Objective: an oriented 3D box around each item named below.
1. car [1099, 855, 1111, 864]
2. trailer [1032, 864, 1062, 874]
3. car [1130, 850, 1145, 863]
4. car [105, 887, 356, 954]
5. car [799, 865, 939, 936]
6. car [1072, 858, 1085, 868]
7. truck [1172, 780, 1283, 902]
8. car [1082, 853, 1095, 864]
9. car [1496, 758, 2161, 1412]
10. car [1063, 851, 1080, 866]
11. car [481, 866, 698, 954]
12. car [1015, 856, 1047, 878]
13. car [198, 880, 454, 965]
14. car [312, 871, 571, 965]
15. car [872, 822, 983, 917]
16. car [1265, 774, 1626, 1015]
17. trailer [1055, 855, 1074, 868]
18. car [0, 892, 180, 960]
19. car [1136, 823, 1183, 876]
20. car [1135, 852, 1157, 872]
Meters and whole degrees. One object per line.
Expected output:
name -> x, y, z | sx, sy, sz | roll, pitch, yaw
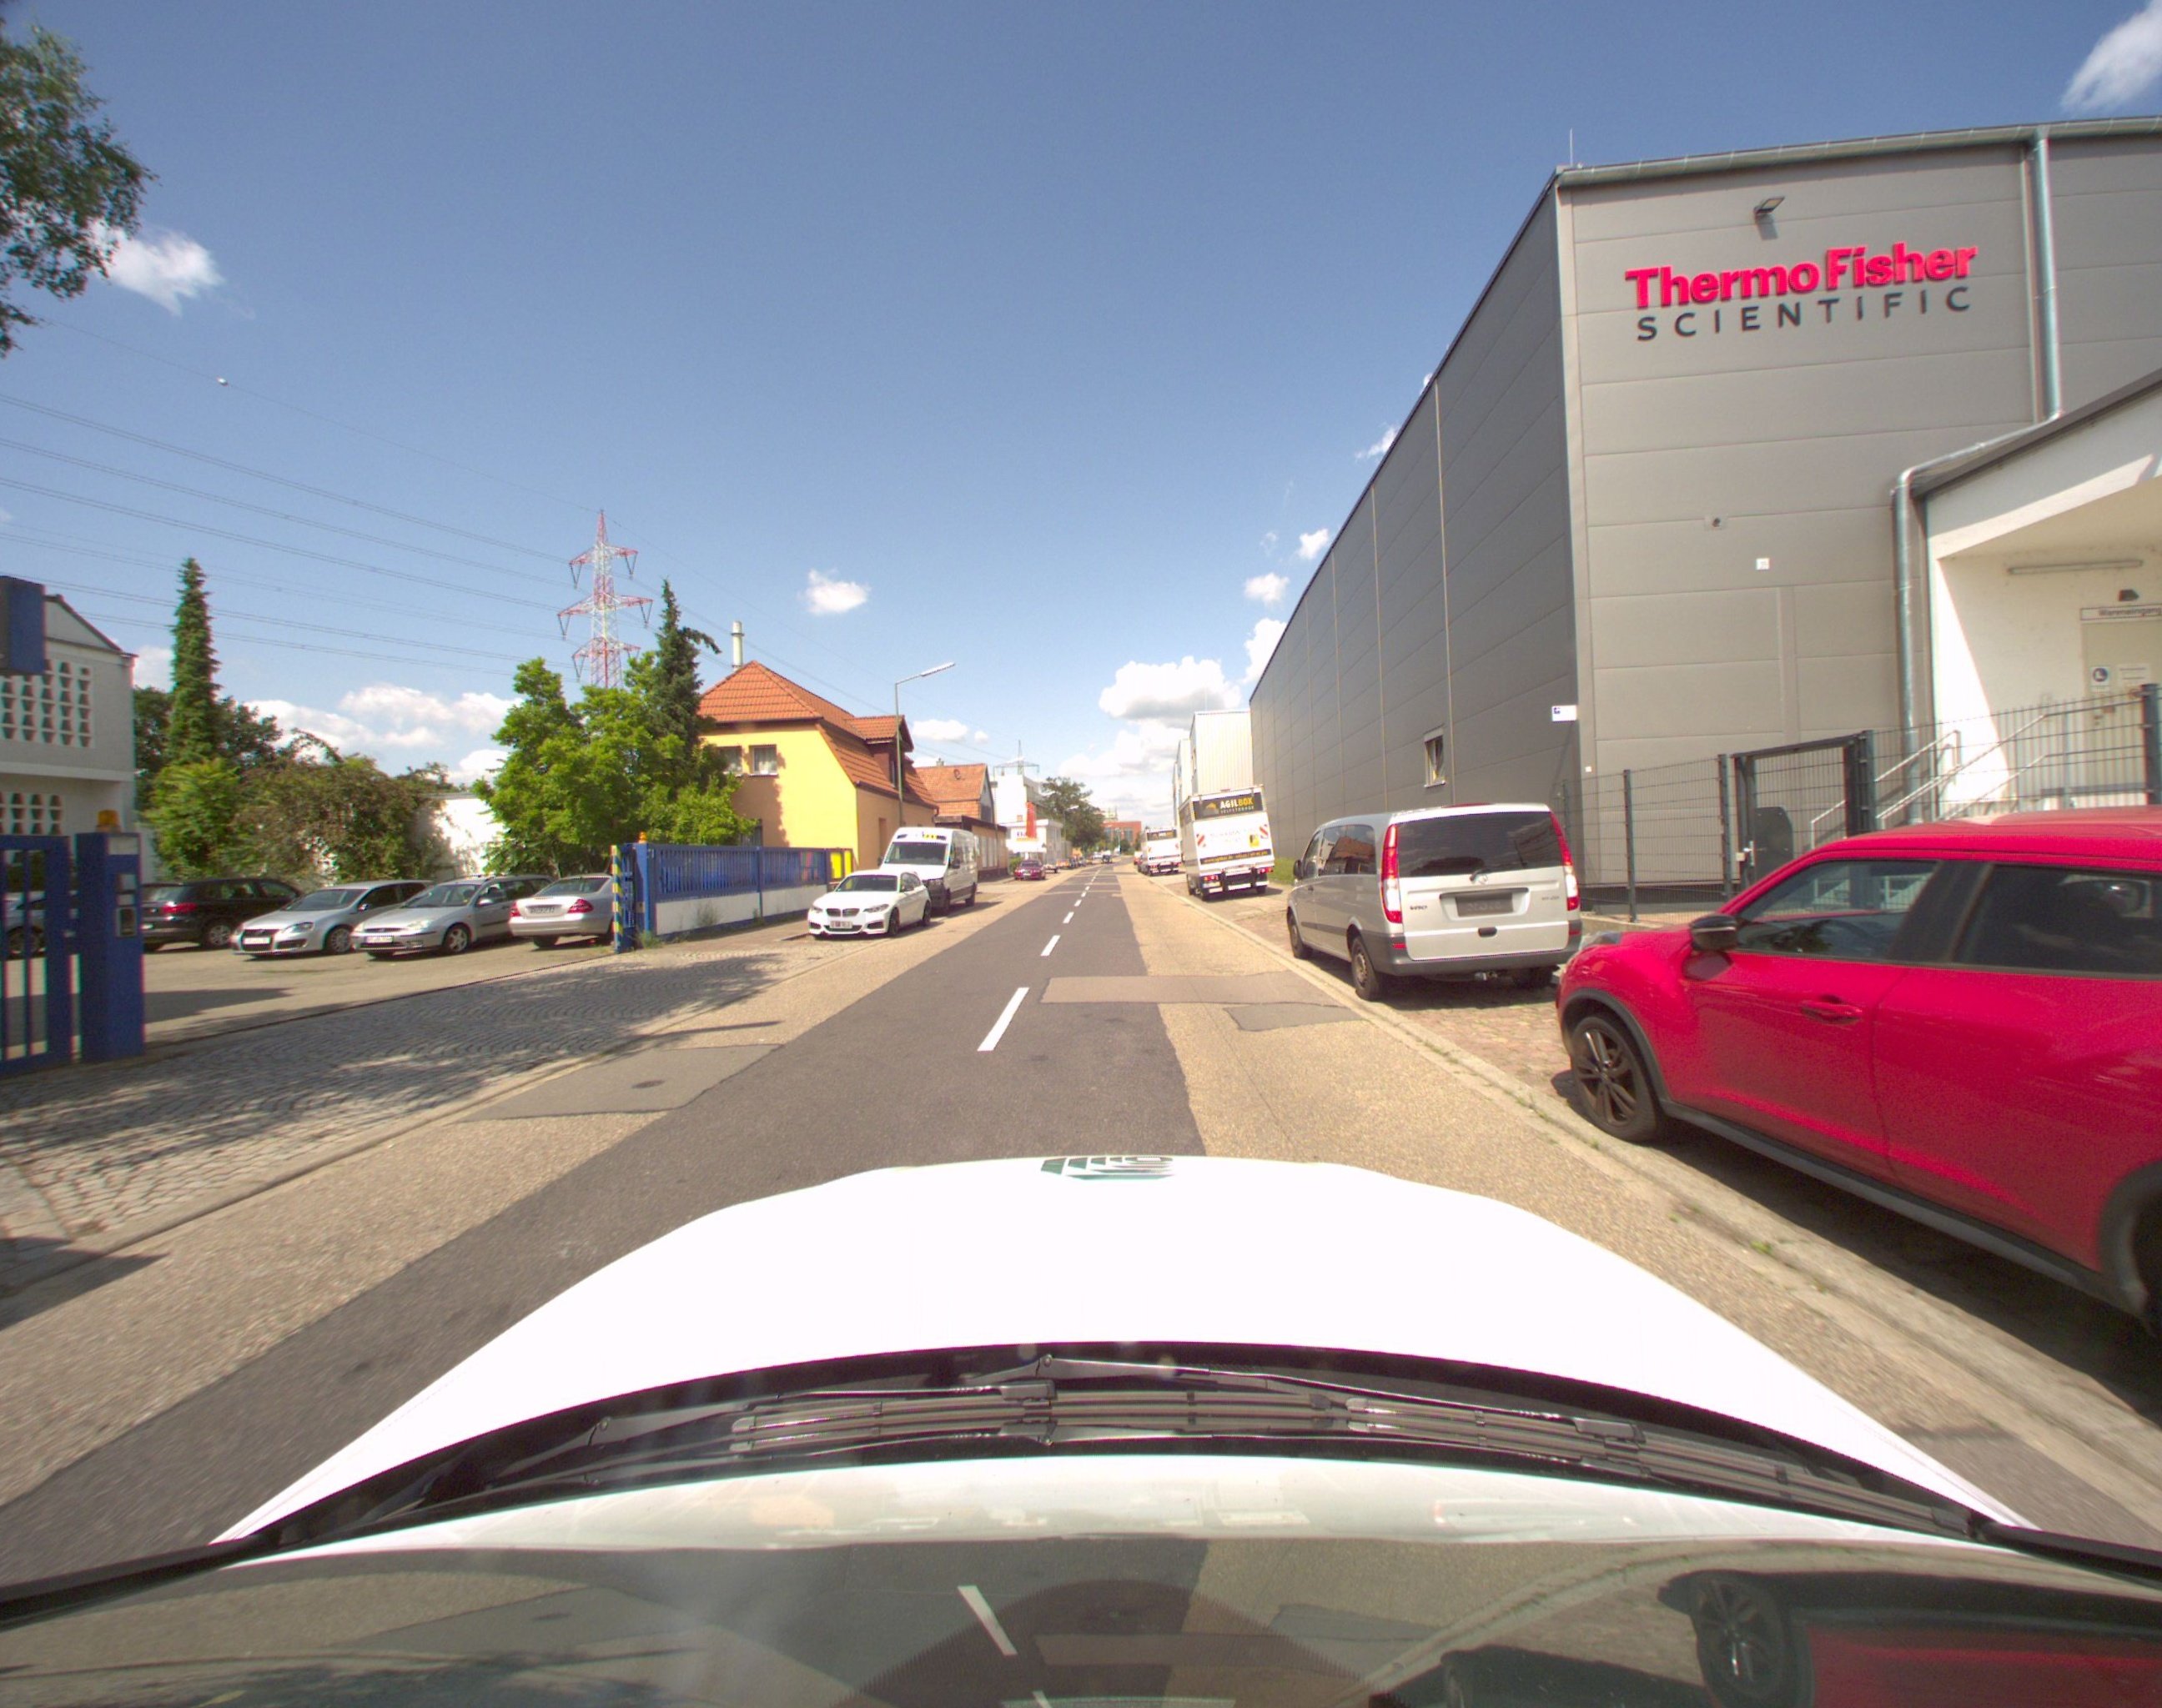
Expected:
car -> 3.999, 0.935, 136.195 | 1.910, 1.285, 3.617 | -3, 0, 3
trailer -> -3.142, 1.371, 76.166 | 2.353, 0.893, 5.571 | 0, -1, 2
car -> 7.900, 0.331, 113.107 | 1.931, 1.742, 4.382 | -3, -1, 5
car -> -20.515, 1.550, 19.941 | 1.839, 1.317, 4.002 | -1, -1, 2
car -> -4.660, 0.964, 18.620 | 1.788, 1.397, 4.505 | -1, -1, 3
car -> -0.318, 1.337, 118.316 | 1.662, 1.447, 3.455 | 0, -1, 2
truck -> 4.683, -0.367, 27.377 | 2.449, 3.293, 6.822 | -7, -1, 2
car -> 1.220, 0.832, 136.252 | 1.913, 1.794, 4.005 | -1, -1, 4
car -> 3.516, 0.539, 3.162 | 1.698, 1.624, 4.093 | -4, -1, 1
car -> -1.292, 0.675, 112.834 | 1.984, 2.014, 4.005 | -1, -1, 4
car -> -10.339, 1.101, 17.576 | 1.857, 1.463, 4.147 | -4, 0, 4
car -> -3.510, 0.913, 57.466 | 1.755, 1.447, 4.744 | 0, -1, 2
car -> -16.474, 1.410, 18.108 | 1.839, 1.489, 4.002 | -1, 0, 2
car -> -13.346, 1.243, 17.415 | 1.791, 1.467, 4.318 | -2, 2, 5
car -> -4.600, 0.447, 25.625 | 2.019, 2.561, 6.841 | -1, -1, 1
car -> 3.741, 0.353, 9.646 | 2.045, 1.903, 5.151 | -6, 0, 3
trailer -> -1.900, 0.877, 97.226 | 1.986, 1.556, 4.255 | -2, 0, 2
car -> -23.892, 1.623, 18.704 | 1.839, 1.314, 4.002 | -1, -1, 2
car -> 5.533, -0.282, 58.570 | 2.382, 3.362, 6.642 | -6, -1, -1
car -> 5.679, 0.679, 70.998 | 1.761, 1.612, 3.876 | -2, -1, 3
